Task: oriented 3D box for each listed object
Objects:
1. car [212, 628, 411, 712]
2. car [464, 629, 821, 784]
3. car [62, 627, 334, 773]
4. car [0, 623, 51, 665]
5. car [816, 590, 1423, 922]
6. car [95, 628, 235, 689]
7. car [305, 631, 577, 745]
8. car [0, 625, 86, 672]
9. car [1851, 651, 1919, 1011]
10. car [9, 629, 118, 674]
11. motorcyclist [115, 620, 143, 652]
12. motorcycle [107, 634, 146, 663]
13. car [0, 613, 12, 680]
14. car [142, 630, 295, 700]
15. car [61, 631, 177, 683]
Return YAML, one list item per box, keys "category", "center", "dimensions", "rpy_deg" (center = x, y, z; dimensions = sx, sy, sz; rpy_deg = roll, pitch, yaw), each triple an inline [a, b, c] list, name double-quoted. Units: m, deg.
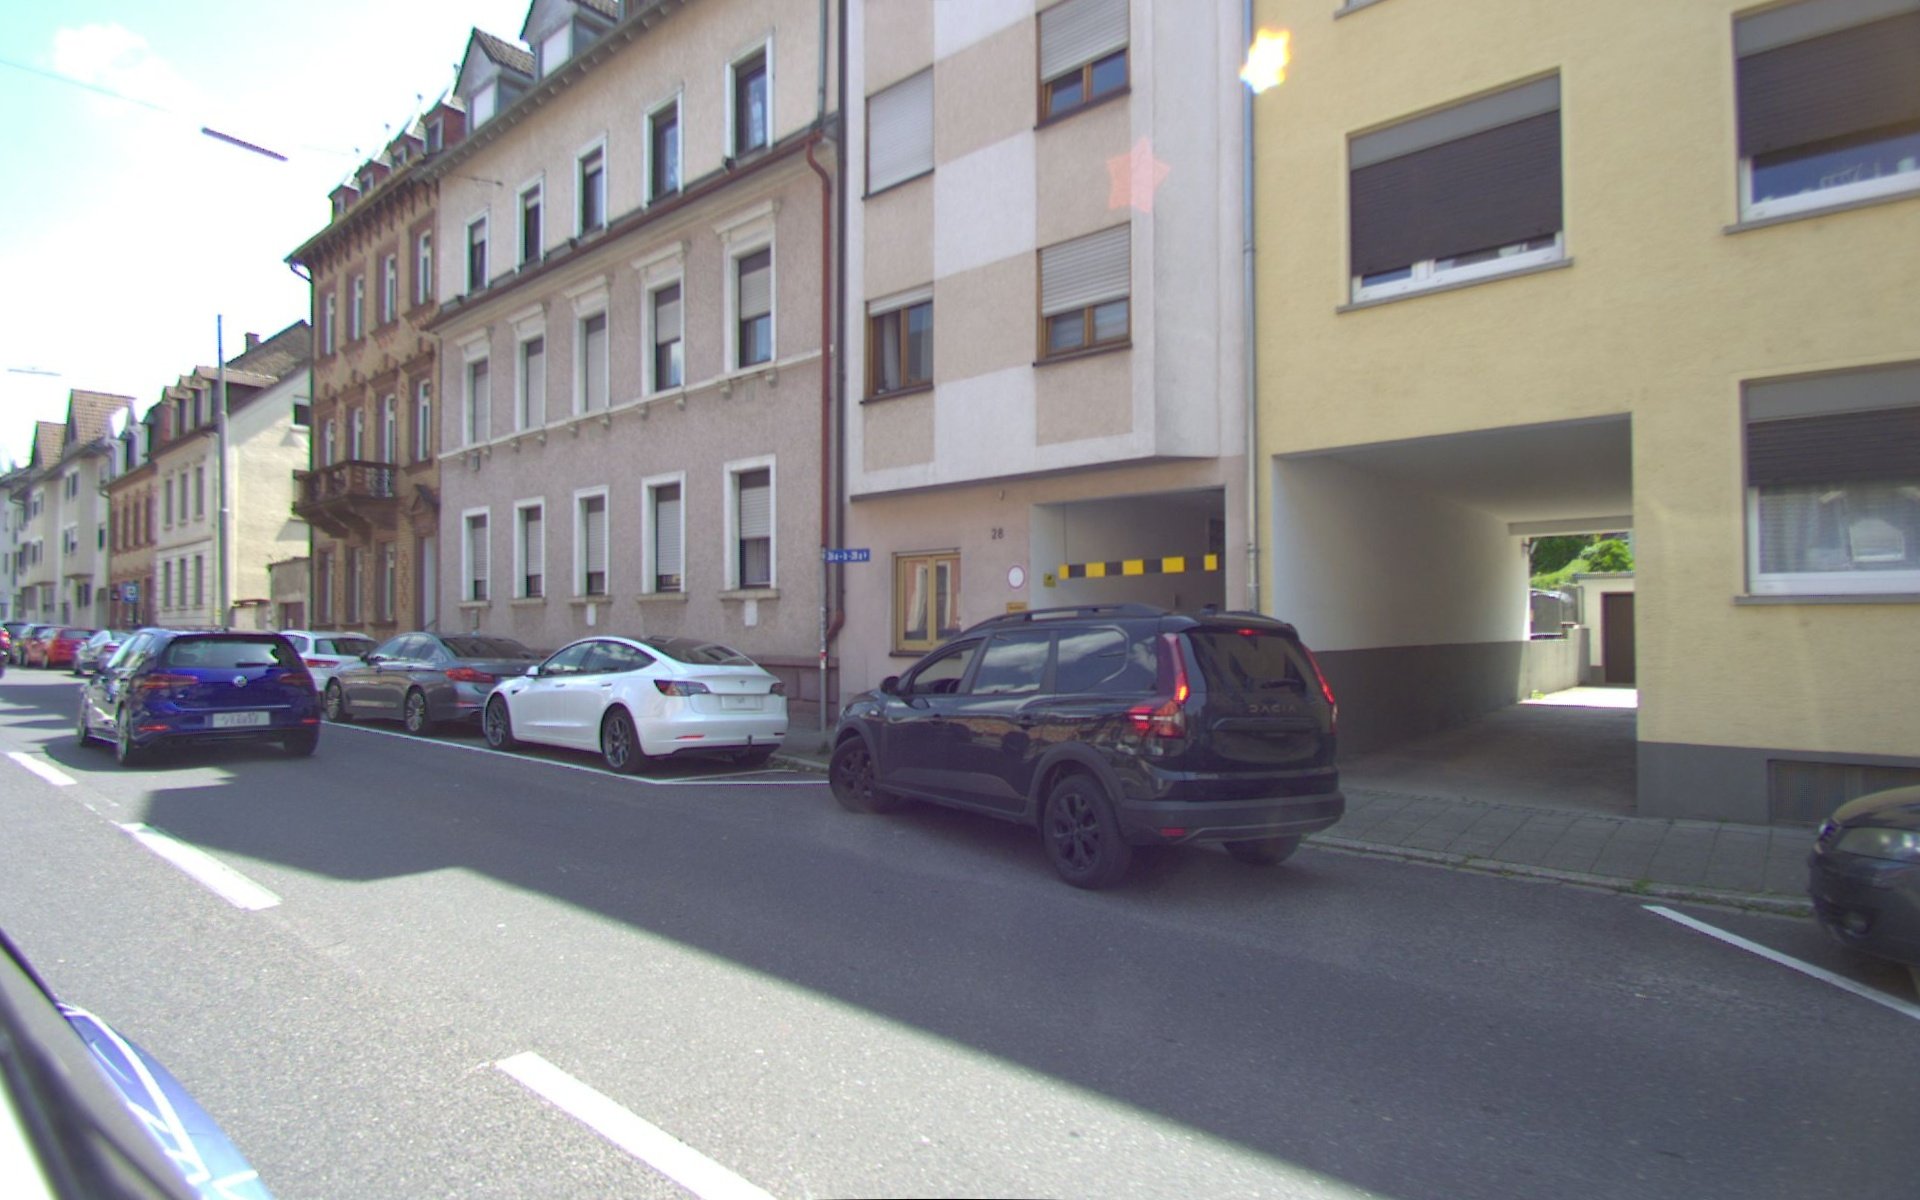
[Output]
- category: "car"
  center: [-12.660, 1.302, 19.653]
  dimensions: [4.496, 1.433, 1.822]
  rpy_deg: [-1, -4, 38]
- category: "car"
  center: [-3.836, 1.114, 11.790]
  dimensions: [4.555, 1.433, 1.820]
  rpy_deg: [-1, -5, 41]
- category: "car"
  center: [-8.943, 1.039, 11.762]
  dimensions: [4.000, 1.399, 1.796]
  rpy_deg: [-2, -3, 43]
- category: "car"
  center: [-38.877, 1.762, 41.360]
  dimensions: [4.497, 1.609, 1.821]
  rpy_deg: [-1, -4, 39]
- category: "car"
  center: [0.762, 0.889, 7.500]
  dimensions: [1.878, 1.650, 4.570]
  rpy_deg: [3, -4, -32]
- category: "car"
  center: [-21.208, 1.536, 26.950]
  dimensions: [4.496, 1.433, 1.822]
  rpy_deg: [-1, -6, 38]
- category: "car"
  center: [-7.919, 1.234, 15.265]
  dimensions: [4.639, 1.433, 1.822]
  rpy_deg: [-1, -4, 38]
- category: "car"
  center: [-34.518, 1.799, 37.922]
  dimensions: [4.497, 1.609, 1.821]
  rpy_deg: [-1, -5, 39]
- category: "car"
  center: [5.761, 0.913, 3.426]
  dimensions: [4.059, 1.390, 1.885]
  rpy_deg: [-1, -4, 41]
- category: "car"
  center: [-30.696, 1.748, 34.623]
  dimensions: [4.493, 1.433, 1.823]
  rpy_deg: [-1, -5, 36]
- category: "motorcyclist"
  center: [-33.140, 1.413, 40.373]
  dimensions: [0.711, 1.257, 0.711]
  rpy_deg: [-1, -2, 38]
- category: "motorcycle"
  center: [-33.278, 1.937, 40.404]
  dimensions: [1.870, 1.086, 0.837]
  rpy_deg: [-1, 0, 40]
- category: "car"
  center: [-28.322, 1.282, 28.296]
  dimensions: [5.143, 1.806, 1.973]
  rpy_deg: [-1, -3, 40]
- category: "car"
  center: [-17.274, 1.487, 23.501]
  dimensions: [4.500, 1.433, 1.820]
  rpy_deg: [-1, -6, 41]
- category: "car"
  center: [-25.557, 1.698, 30.692]
  dimensions: [4.497, 1.433, 1.821]
  rpy_deg: [-1, -4, 39]
